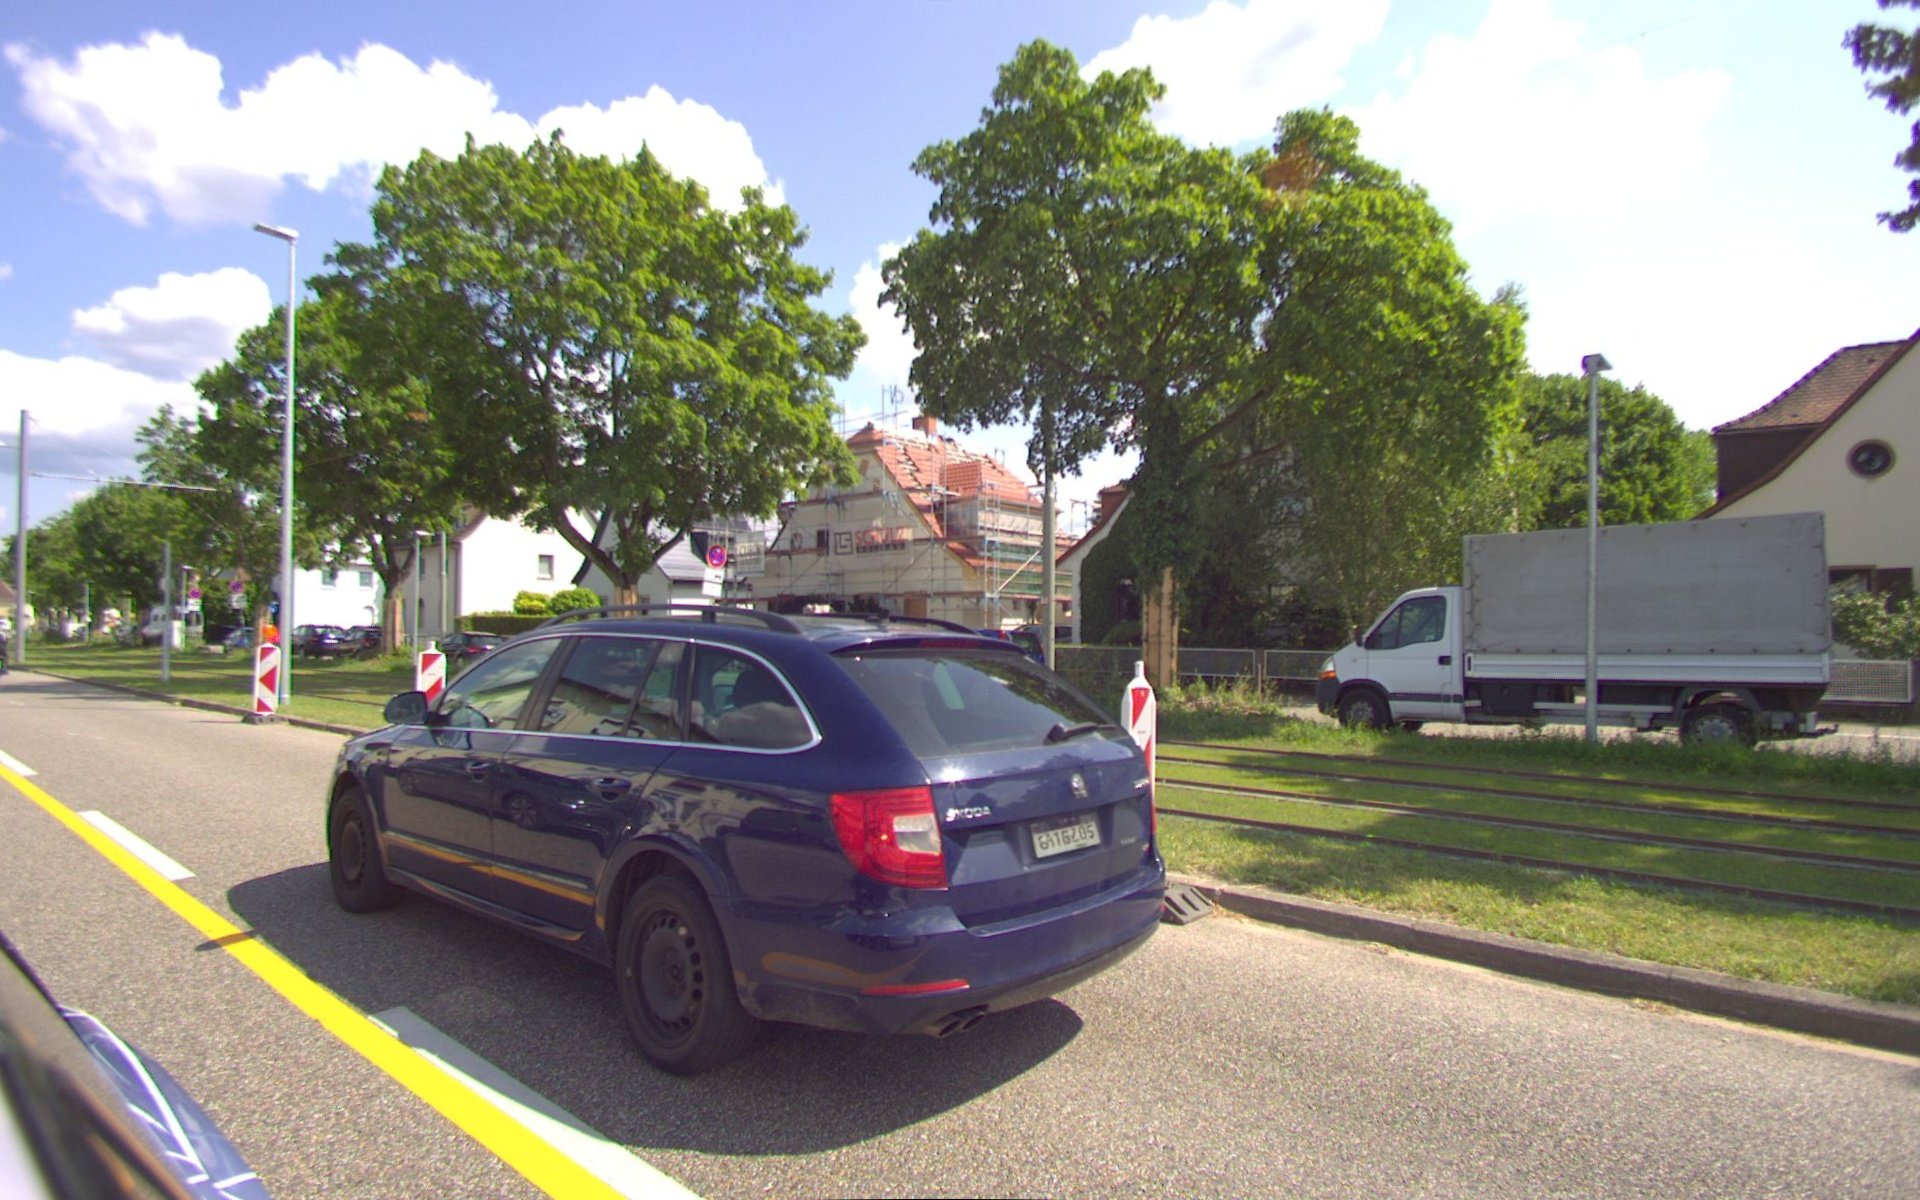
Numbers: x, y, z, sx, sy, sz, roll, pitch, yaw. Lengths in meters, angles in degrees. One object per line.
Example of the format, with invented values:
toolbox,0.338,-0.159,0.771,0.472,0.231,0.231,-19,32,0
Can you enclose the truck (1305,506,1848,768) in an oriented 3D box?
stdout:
truck,8.067,0.417,13.752,5.948,2.826,2.340,-1,0,41

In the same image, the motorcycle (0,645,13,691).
motorcycle,-24.025,1.668,24.956,2.465,1.050,0.697,-1,-2,41

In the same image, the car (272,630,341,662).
car,-29.798,2.054,46.111,3.998,1.311,1.615,-1,0,41

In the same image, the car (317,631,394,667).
car,-25.249,2.003,42.206,3.998,1.311,1.615,-1,0,41

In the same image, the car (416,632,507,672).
car,-17.791,1.828,36.057,3.785,1.251,1.604,-1,0,41

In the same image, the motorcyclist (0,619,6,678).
motorcyclist,-24.035,1.197,24.959,0.588,1.453,0.643,-1,-2,41

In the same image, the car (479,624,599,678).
car,-13.406,1.566,32.126,4.522,1.524,1.685,-1,0,41

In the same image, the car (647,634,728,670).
car,-11.567,2.187,42.950,3.190,1.393,1.492,-1,0,-19

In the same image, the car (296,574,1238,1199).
car,-1.238,0.766,4.541,4.533,1.498,1.693,-1,-3,41

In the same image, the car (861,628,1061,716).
car,-0.052,1.372,20.446,3.929,1.524,1.651,-1,0,41
